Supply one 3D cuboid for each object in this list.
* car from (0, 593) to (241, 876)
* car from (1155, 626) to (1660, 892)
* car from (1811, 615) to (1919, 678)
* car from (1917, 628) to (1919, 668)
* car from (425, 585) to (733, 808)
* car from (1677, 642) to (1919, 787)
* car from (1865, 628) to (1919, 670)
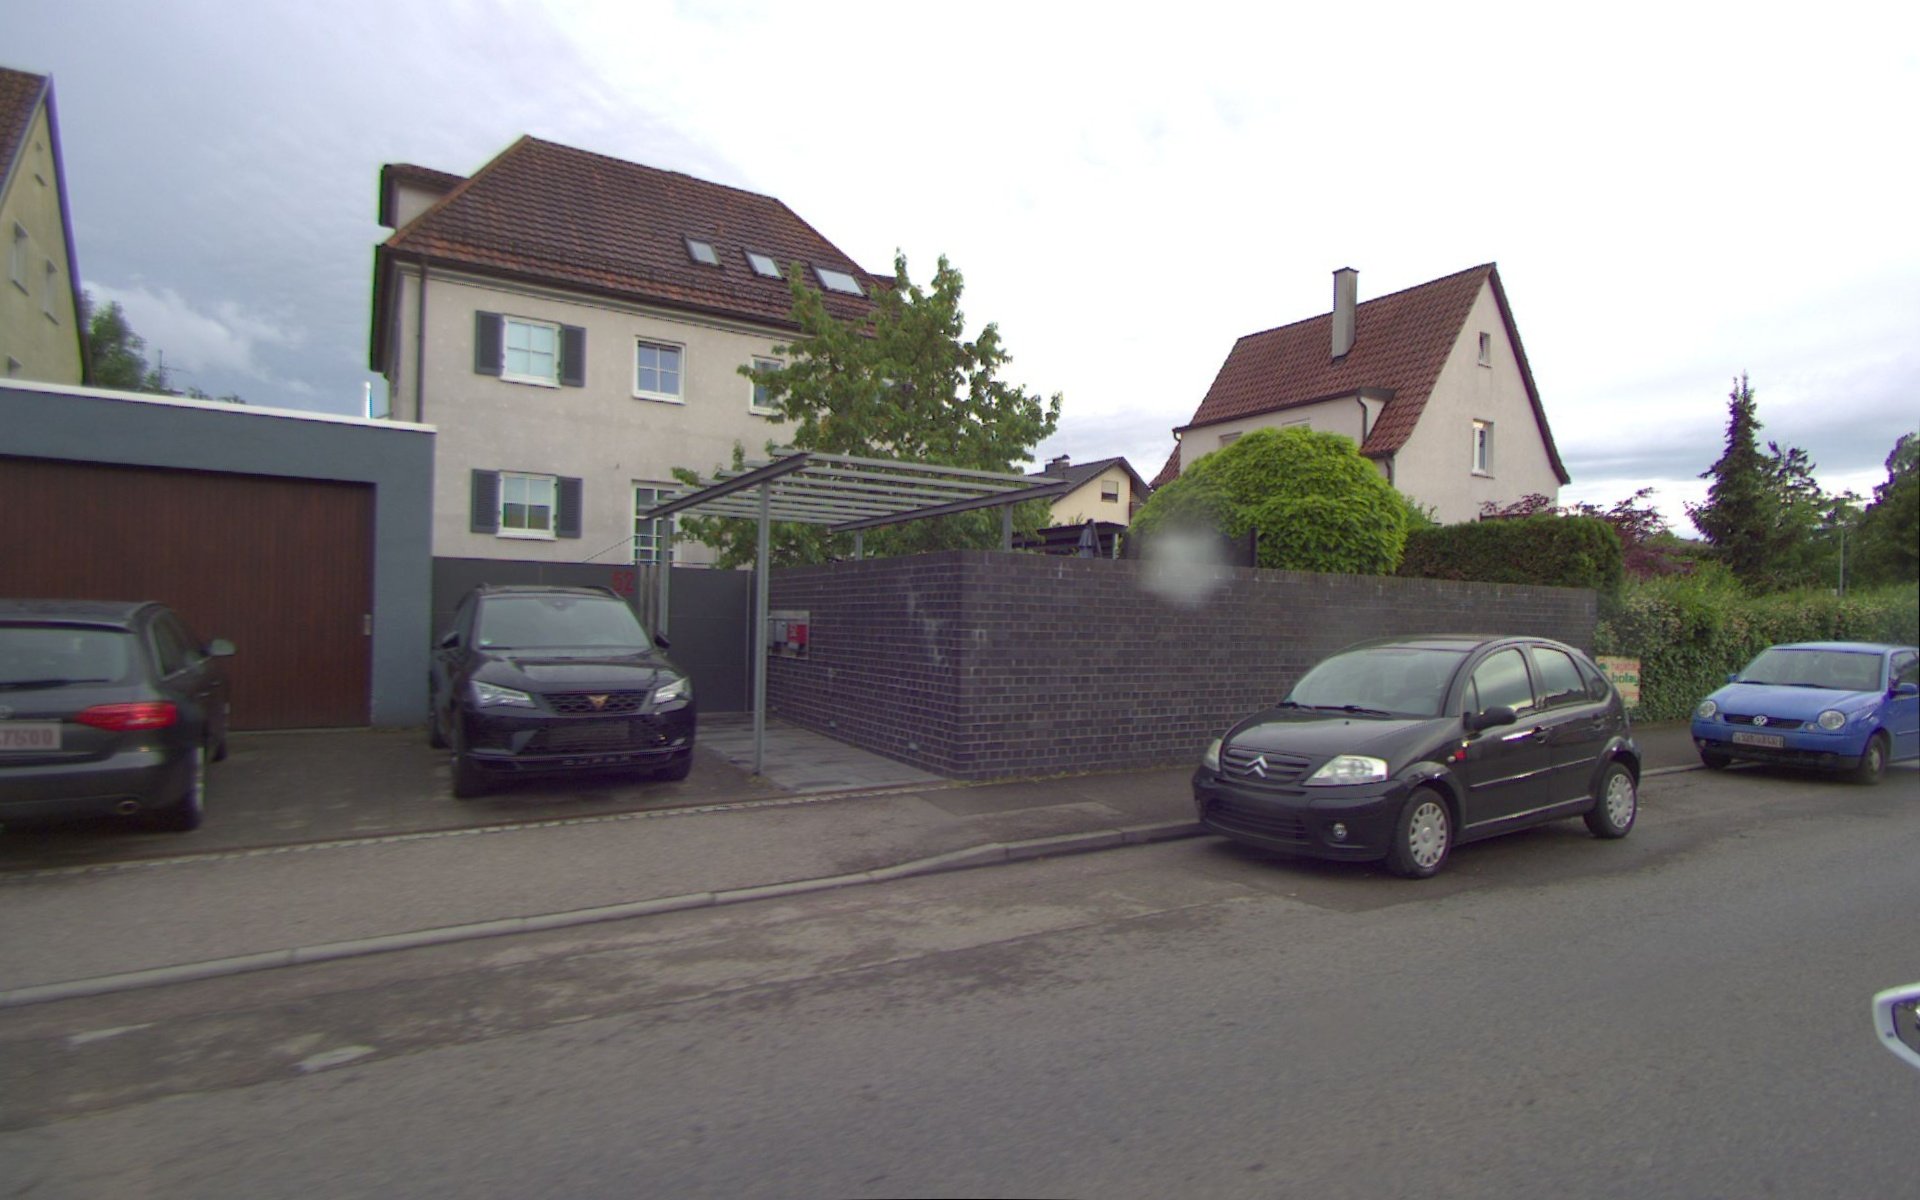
[{"bbox_3d":[-6.171,0.706,6.976,1.696,1.433,4.060,1,0,-33],"label":"car"},{"bbox_3d":[3.361,0.969,7.416,3.664,1.526,1.601,1,-2,-31],"label":"car"},{"bbox_3d":[28.348,1.371,29.721,1.878,1.814,4.529,1,-1,-34],"label":"car"},{"bbox_3d":[35.221,1.677,33.574,1.867,1.392,4.355,1,-1,-30],"label":"car"},{"bbox_3d":[-3.521,0.664,8.885,1.739,1.476,3.562,1,1,-35],"label":"car"},{"bbox_3d":[10.039,1.213,11.628,3.555,1.421,1.538,1,-2,-31],"label":"car"},{"bbox_3d":[32.221,1.620,32.139,1.867,1.327,4.536,1,-1,-30],"label":"car"}]
